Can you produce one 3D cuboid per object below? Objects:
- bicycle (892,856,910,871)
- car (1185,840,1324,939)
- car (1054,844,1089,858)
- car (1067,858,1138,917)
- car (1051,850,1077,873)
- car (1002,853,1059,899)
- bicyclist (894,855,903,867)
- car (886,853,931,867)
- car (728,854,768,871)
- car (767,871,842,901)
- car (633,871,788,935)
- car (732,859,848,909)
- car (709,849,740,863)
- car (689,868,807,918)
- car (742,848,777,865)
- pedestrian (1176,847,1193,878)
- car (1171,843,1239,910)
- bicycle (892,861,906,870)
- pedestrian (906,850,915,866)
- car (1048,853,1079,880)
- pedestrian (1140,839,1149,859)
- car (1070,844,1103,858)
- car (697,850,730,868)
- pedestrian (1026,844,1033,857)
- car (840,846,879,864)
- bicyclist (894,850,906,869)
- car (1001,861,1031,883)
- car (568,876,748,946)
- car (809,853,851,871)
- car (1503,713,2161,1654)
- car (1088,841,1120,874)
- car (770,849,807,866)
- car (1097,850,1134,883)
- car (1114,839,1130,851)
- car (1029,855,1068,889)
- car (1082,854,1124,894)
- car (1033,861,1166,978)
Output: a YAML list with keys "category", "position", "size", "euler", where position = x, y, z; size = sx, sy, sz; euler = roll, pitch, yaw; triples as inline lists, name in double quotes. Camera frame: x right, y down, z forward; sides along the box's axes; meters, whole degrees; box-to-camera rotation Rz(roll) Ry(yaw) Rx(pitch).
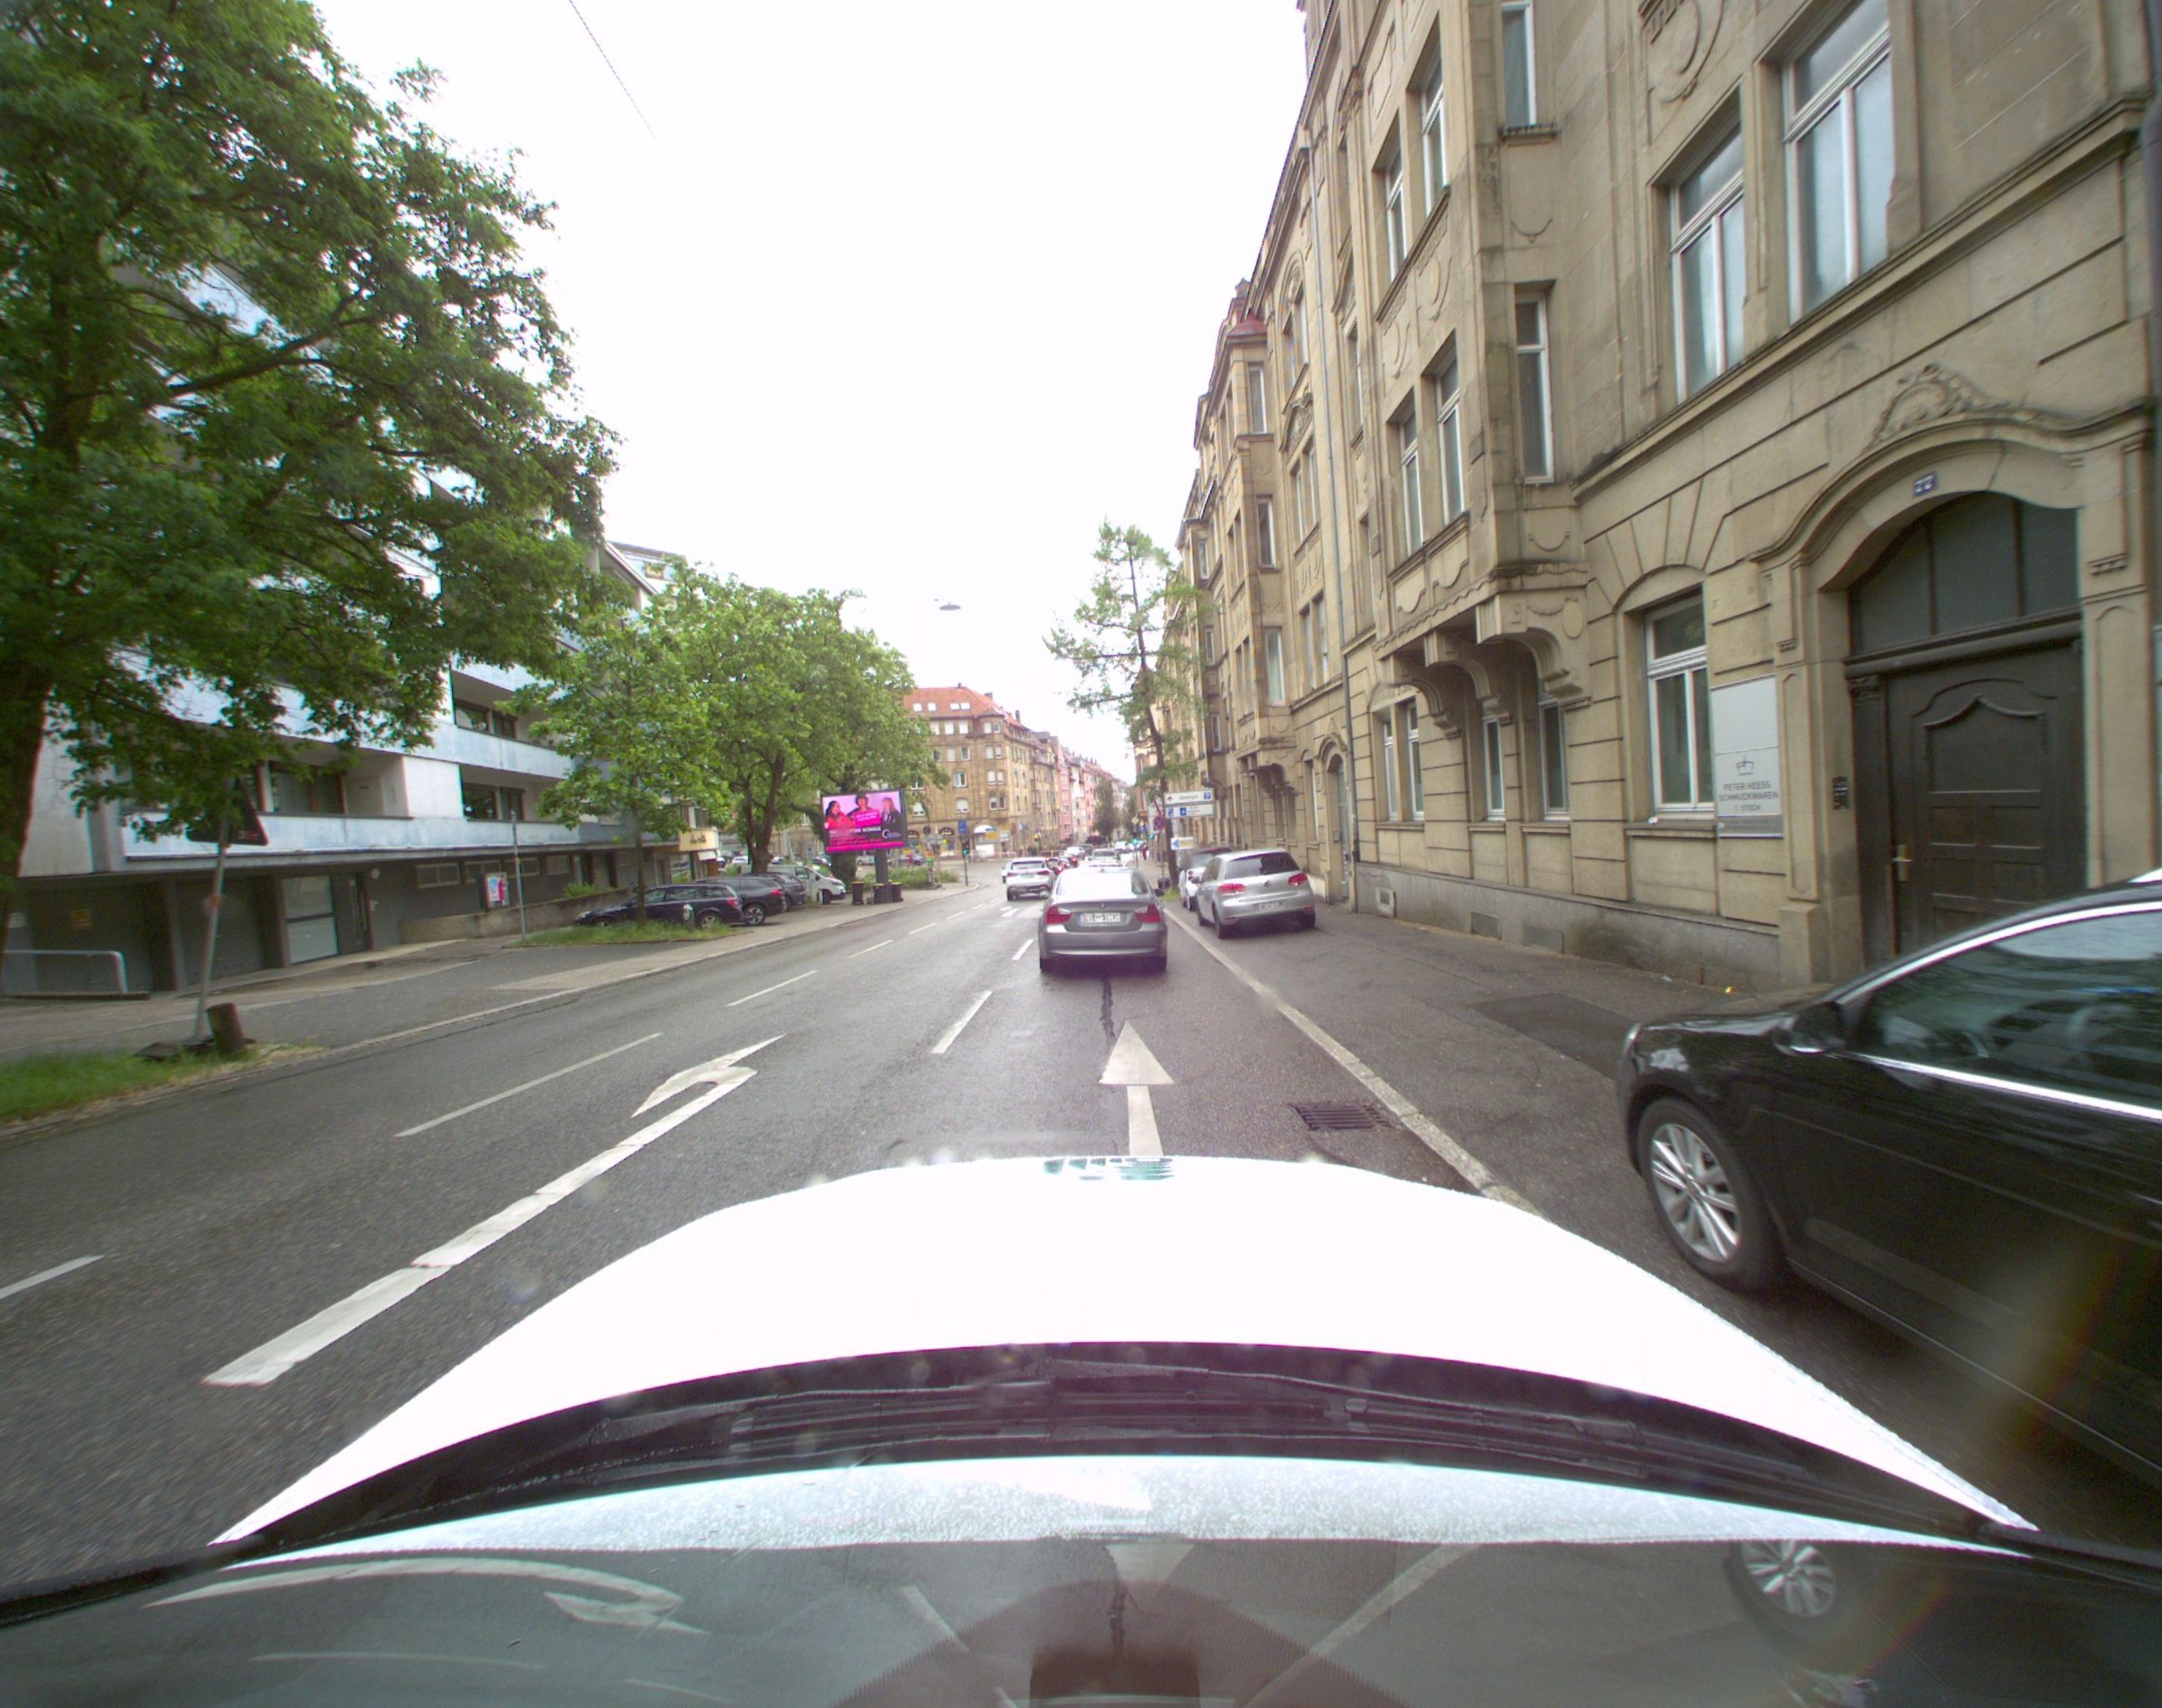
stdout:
- category: "bicycle"
  position: [-18.205, 0.952, 82.425]
  size: [0.666, 1.320, 2.285]
  euler: [-5, 0, 15]
- category: "car"
  position: [3.171, 0.596, 15.687]
  size: [1.753, 1.451, 4.001]
  euler: [-7, 0, 1]
- category: "car"
  position: [-1.042, -0.305, 90.949]
  size: [1.974, 1.578, 4.025]
  euler: [-1, -1, 34]
- category: "car"
  position: [0.650, 0.861, 22.572]
  size: [1.752, 1.383, 4.003]
  euler: [-2, 0, 3]
- category: "car"
  position: [-1.335, 0.600, 66.498]
  size: [1.752, 1.707, 4.003]
  euler: [-2, 0, 3]
- category: "car"
  position: [-1.988, 0.838, 33.194]
  size: [1.861, 1.625, 4.001]
  euler: [-4, 0, 1]
- category: "bicyclist"
  position: [-18.363, 0.698, 81.867]
  size: [0.564, 1.273, 0.693]
  euler: [-1, -1, 22]
- category: "car"
  position: [-19.468, 0.667, 91.993]
  size: [4.627, 1.578, 1.998]
  euler: [0, -1, -2]
- category: "car"
  position: [-38.092, 1.015, 93.066]
  size: [4.195, 1.726, 2.013]
  euler: [-2, 2, 31]
- category: "car"
  position: [-15.937, 1.821, 47.000]
  size: [3.984, 1.450, 1.757]
  euler: [-3, -1, -19]
- category: "car"
  position: [-11.982, 1.544, 26.644]
  size: [4.382, 1.672, 1.842]
  euler: [-4, 0, -21]
- category: "car"
  position: [-13.960, 1.413, 39.336]
  size: [5.076, 2.105, 1.979]
  euler: [-3, -1, -19]
- category: "car"
  position: [-47.332, 0.278, 108.137]
  size: [3.949, 1.689, 1.738]
  euler: [-1, -1, 29]
- category: "car"
  position: [-13.808, 1.589, 34.064]
  size: [4.370, 1.784, 1.927]
  euler: [-3, -1, -19]
- category: "car"
  position: [-41.441, 0.372, 104.939]
  size: [4.238, 2.101, 2.013]
  euler: [0, 2, 30]
- category: "pedestrian"
  position: [5.361, 0.428, 42.347]
  size: [0.629, 1.508, 0.693]
  euler: [-7, 0, 1]
- category: "car"
  position: [3.304, 0.573, 22.082]
  size: [1.295, 1.543, 2.977]
  euler: [-7, 0, 1]
- category: "bicycle"
  position: [-18.304, 1.161, 81.986]
  size: [0.568, 0.858, 1.530]
  euler: [-1, -1, 22]
- category: "pedestrian"
  position: [-18.067, 0.415, 86.335]
  size: [0.532, 1.577, 0.723]
  euler: [-4, -1, 24]
- category: "car"
  position: [-1.133, 0.789, 54.897]
  size: [1.752, 1.707, 4.003]
  euler: [-2, 0, 3]
- category: "pedestrian"
  position: [6.218, -0.465, 79.604]
  size: [0.740, 1.910, 0.659]
  euler: [-3, 0, 1]
- category: "car"
  position: [0.931, -0.475, 129.795]
  size: [5.158, 2.014, 2.699]
  euler: [0, -1, 1]
- category: "car"
  position: [-43.958, 0.583, 97.369]
  size: [3.948, 2.013, 1.587]
  euler: [-2, 0, 33]
- category: "pedestrian"
  position: [-6.371, -0.419, 100.507]
  size: [0.727, 1.577, 0.530]
  euler: [-3, 0, 10]
- category: "car"
  position: [-26.393, 0.094, 96.871]
  size: [4.238, 2.101, 2.013]
  euler: [0, 2, 30]
- category: "bicyclist"
  position: [-18.273, 0.547, 82.128]
  size: [0.776, 1.821, 0.774]
  euler: [-4, 0, 16]
- category: "car"
  position: [-4.763, 1.325, 59.845]
  size: [1.709, 1.450, 3.743]
  euler: [-3, 0, 1]
- category: "car"
  position: [-12.232, 1.611, 23.899]
  size: [4.373, 1.574, 1.929]
  euler: [-4, 0, -21]
- category: "car"
  position: [-26.584, 0.834, 86.270]
  size: [4.194, 1.726, 2.013]
  euler: [-1, 2, 32]
- category: "car"
  position: [2.674, 0.483, 1.380]
  size: [1.753, 1.651, 4.101]
  euler: [-7, 0, 2]
- category: "car"
  position: [1.558, 0.229, 54.894]
  size: [1.986, 2.106, 4.001]
  euler: [-2, -1, 2]
- category: "car"
  position: [-36.810, 0.461, 102.564]
  size: [4.238, 2.101, 2.013]
  euler: [0, 2, 30]
- category: "car"
  position: [1.726, 0.605, 41.660]
  size: [1.753, 1.567, 4.001]
  euler: [-2, 0, 1]
- category: "car"
  position: [5.870, -1.285, 115.740]
  size: [1.983, 1.578, 4.008]
  euler: [-1, -1, 7]
- category: "car"
  position: [-1.760, 0.954, 45.358]
  size: [1.752, 1.707, 4.003]
  euler: [-2, 0, 3]
- category: "car"
  position: [0.936, 0.751, 32.862]
  size: [1.588, 1.464, 4.003]
  euler: [-1, 0, 3]
- category: "car"
  position: [0.328, 0.838, 12.022]
  size: [1.617, 1.383, 3.618]
  euler: [-2, 0, 3]
